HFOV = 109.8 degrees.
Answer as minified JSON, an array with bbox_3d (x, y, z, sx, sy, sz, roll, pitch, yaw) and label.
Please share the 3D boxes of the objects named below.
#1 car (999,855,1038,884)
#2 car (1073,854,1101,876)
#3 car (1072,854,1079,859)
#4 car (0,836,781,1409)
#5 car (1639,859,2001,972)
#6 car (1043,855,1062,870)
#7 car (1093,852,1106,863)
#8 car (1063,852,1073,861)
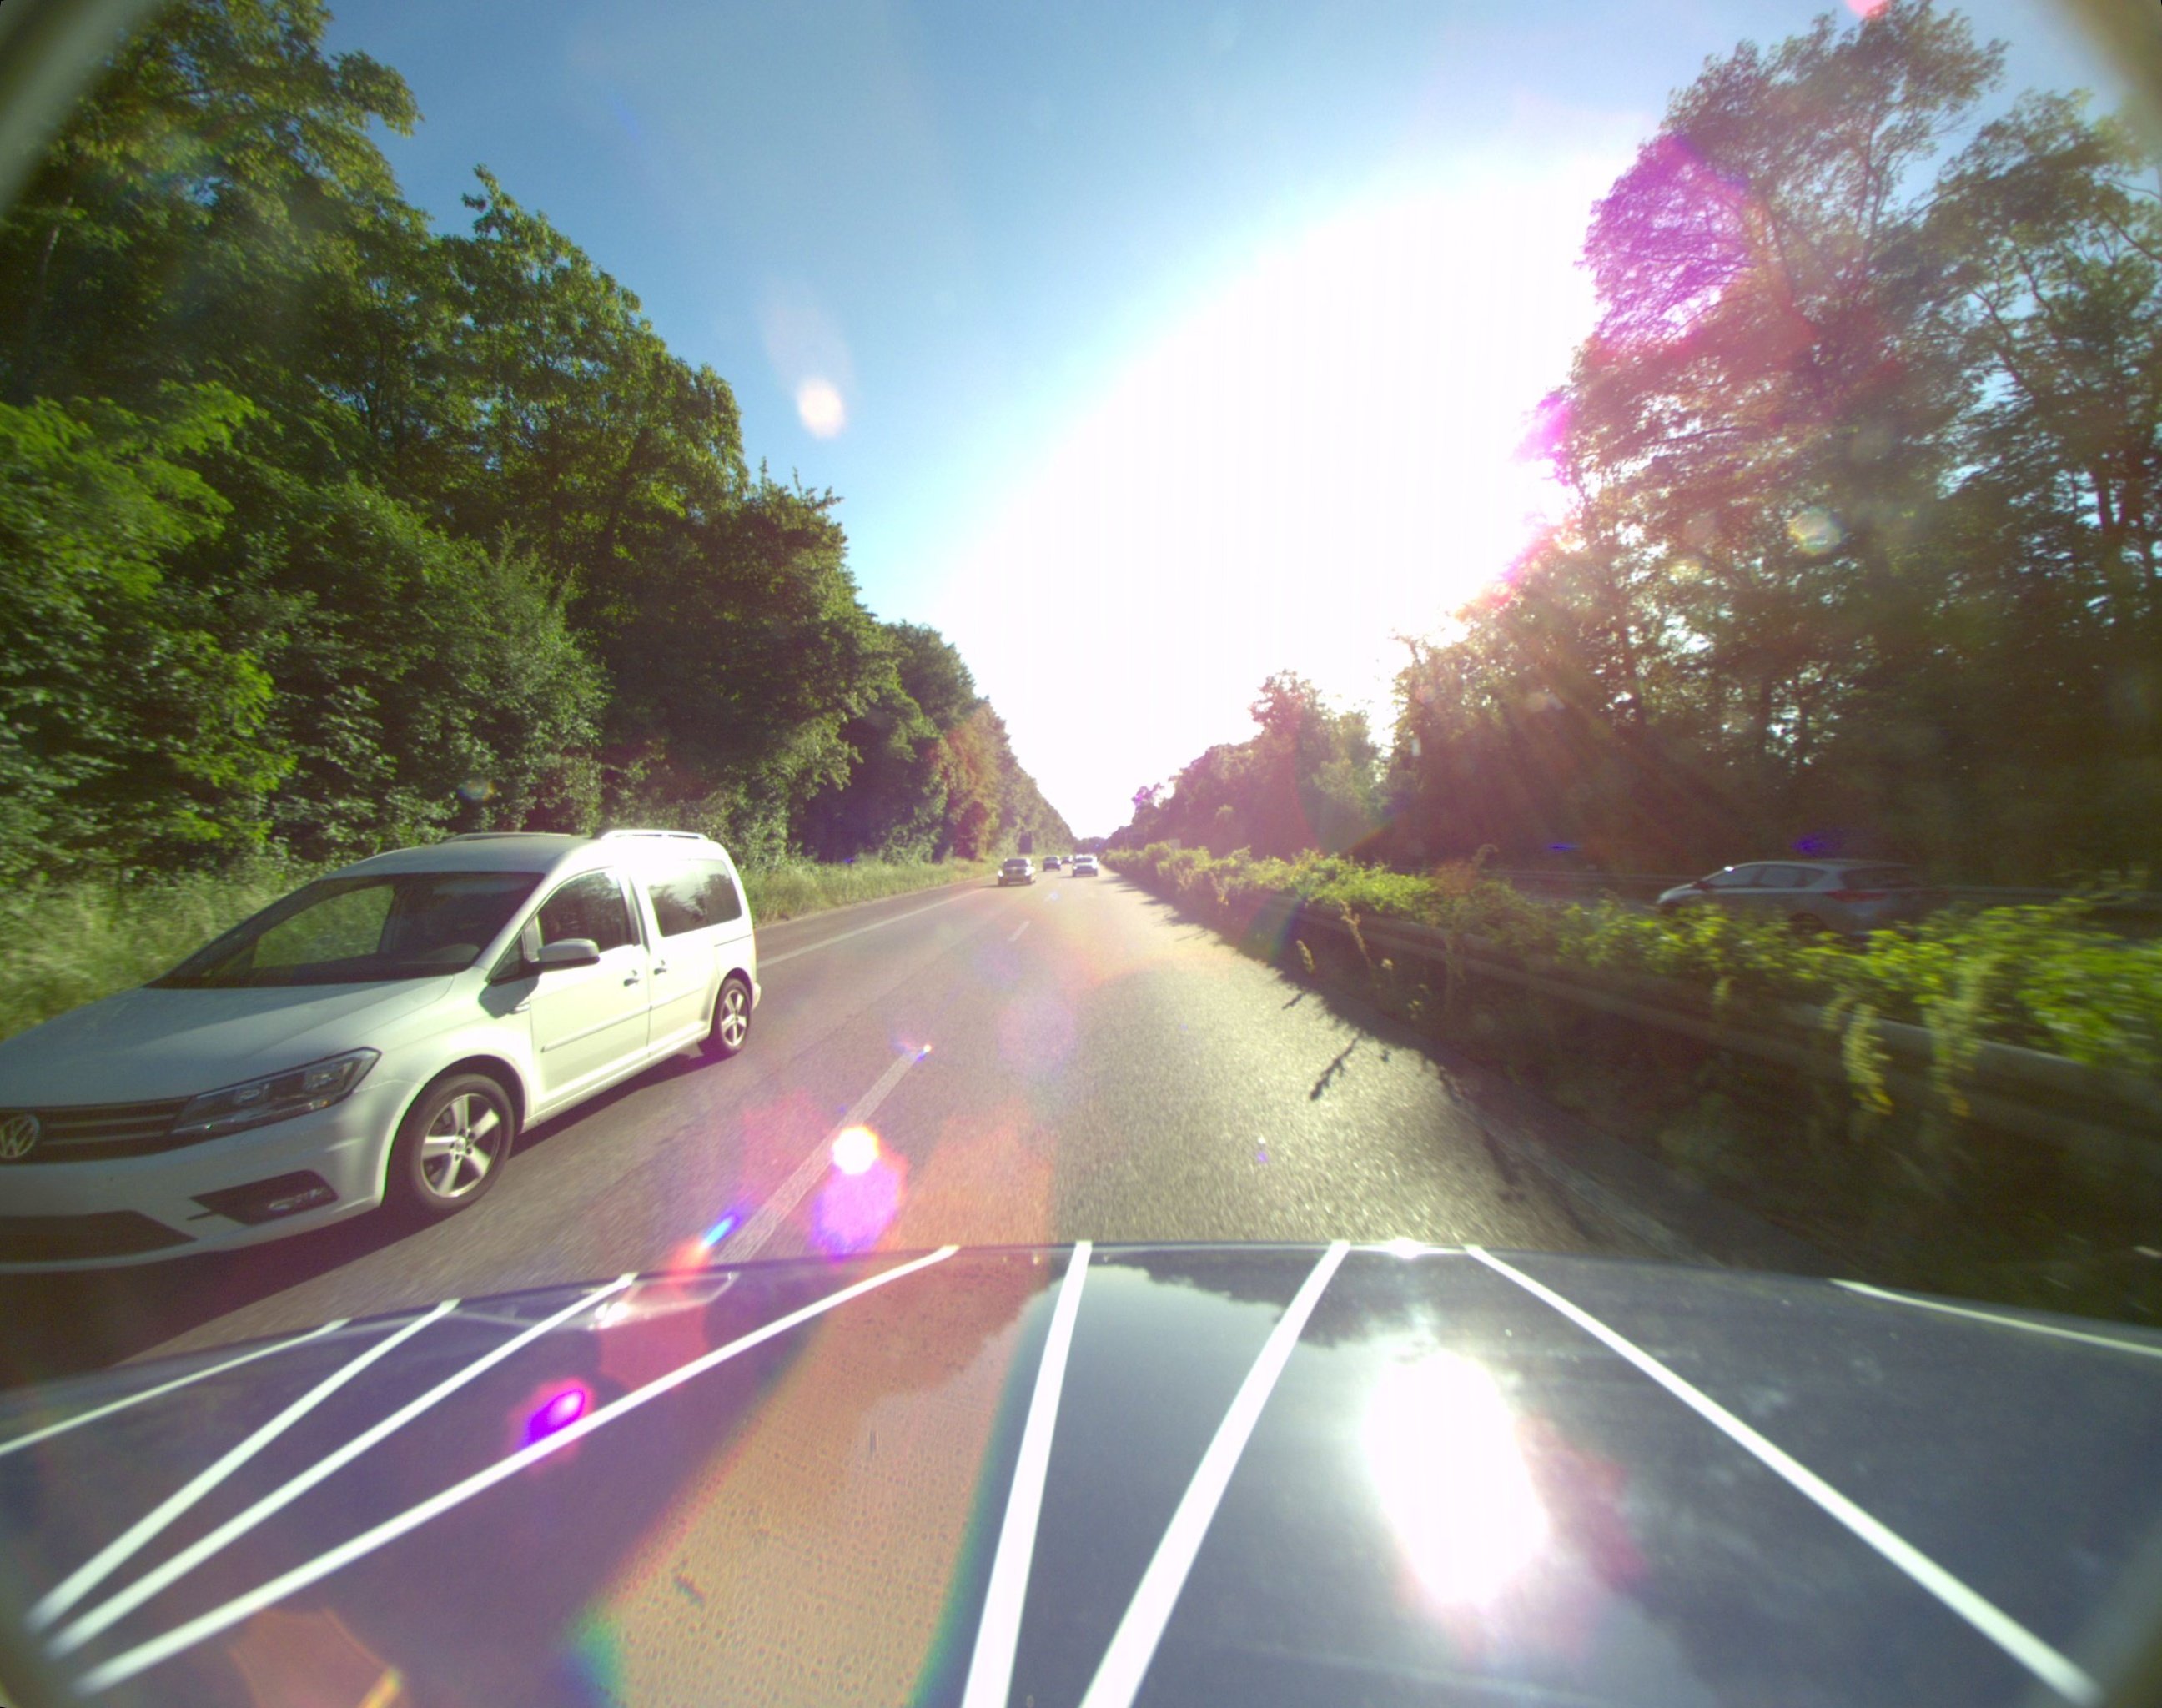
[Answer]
[{"bbox_3d":[-3.414,0.834,41.886,1.795,1.440,3.877,-2,0,0],"label":"car"},{"bbox_3d":[0.459,0.755,54.388,1.890,1.440,3.878,-2,0,1],"label":"car"},{"bbox_3d":[-1.479,0.729,209.433,1.795,1.440,3.877,-2,0,0],"label":"car"},{"bbox_3d":[-3.706,0.849,4.692,1.803,1.802,4.587,-2,1,0],"label":"car"},{"bbox_3d":[11.911,0.871,12.783,1.804,1.434,4.436,-2,1,1],"label":"car"},{"bbox_3d":[-2.884,0.846,78.160,1.795,1.440,3.877,-2,0,0],"label":"car"},{"bbox_3d":[2.835,0.597,117.082,1.914,1.561,4.325,-2,1,1],"label":"car"},{"bbox_3d":[-2.248,0.462,132.144,1.795,1.440,3.877,-2,0,0],"label":"car"}]
